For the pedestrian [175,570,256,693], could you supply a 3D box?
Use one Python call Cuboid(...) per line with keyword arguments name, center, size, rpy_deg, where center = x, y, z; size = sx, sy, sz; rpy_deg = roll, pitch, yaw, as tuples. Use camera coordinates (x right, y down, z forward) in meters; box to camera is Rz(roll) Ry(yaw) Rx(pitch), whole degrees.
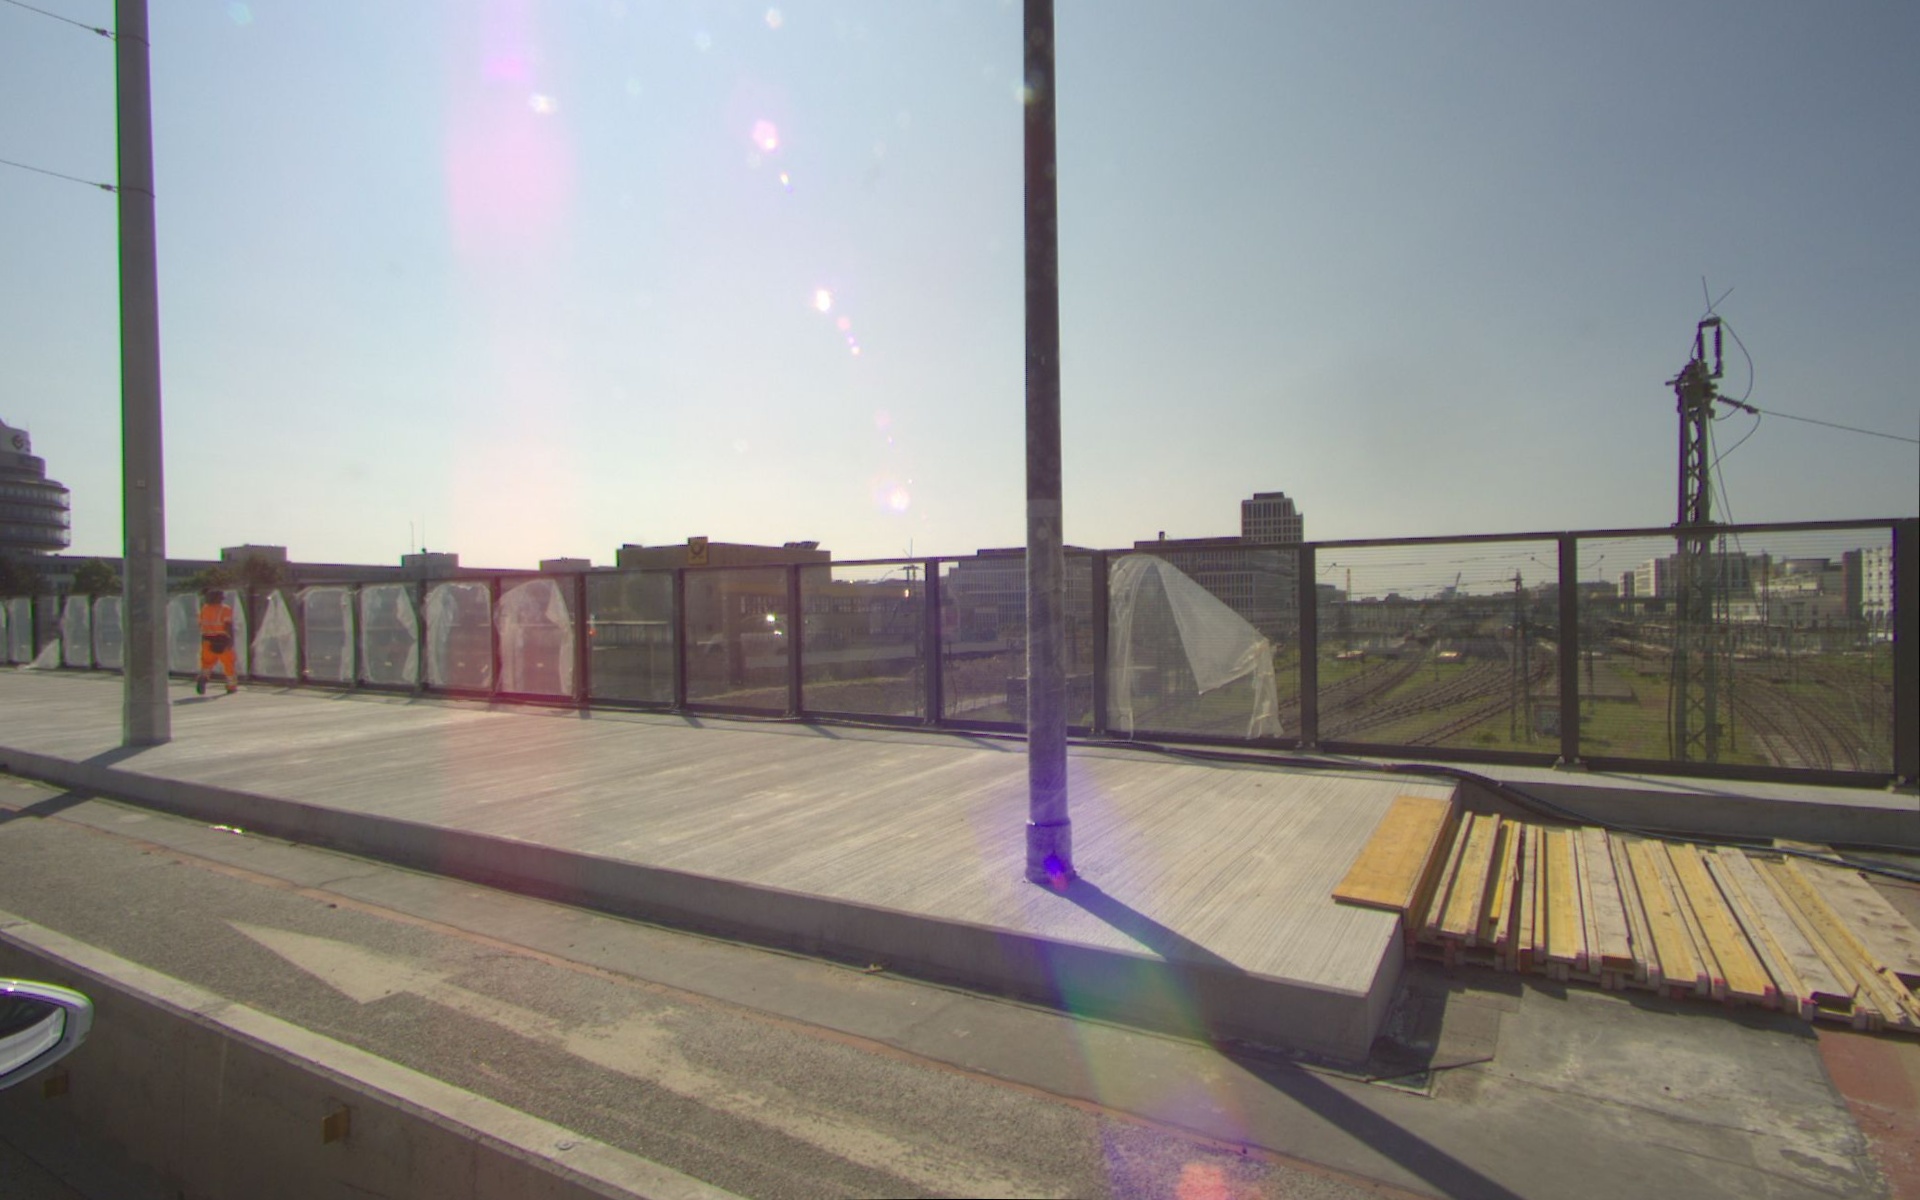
Cuboid(name="pedestrian", center=(-12.307, 0.506, 16.559), size=(0.788, 1.961, 0.780), rpy_deg=(-1, 1, 32))
